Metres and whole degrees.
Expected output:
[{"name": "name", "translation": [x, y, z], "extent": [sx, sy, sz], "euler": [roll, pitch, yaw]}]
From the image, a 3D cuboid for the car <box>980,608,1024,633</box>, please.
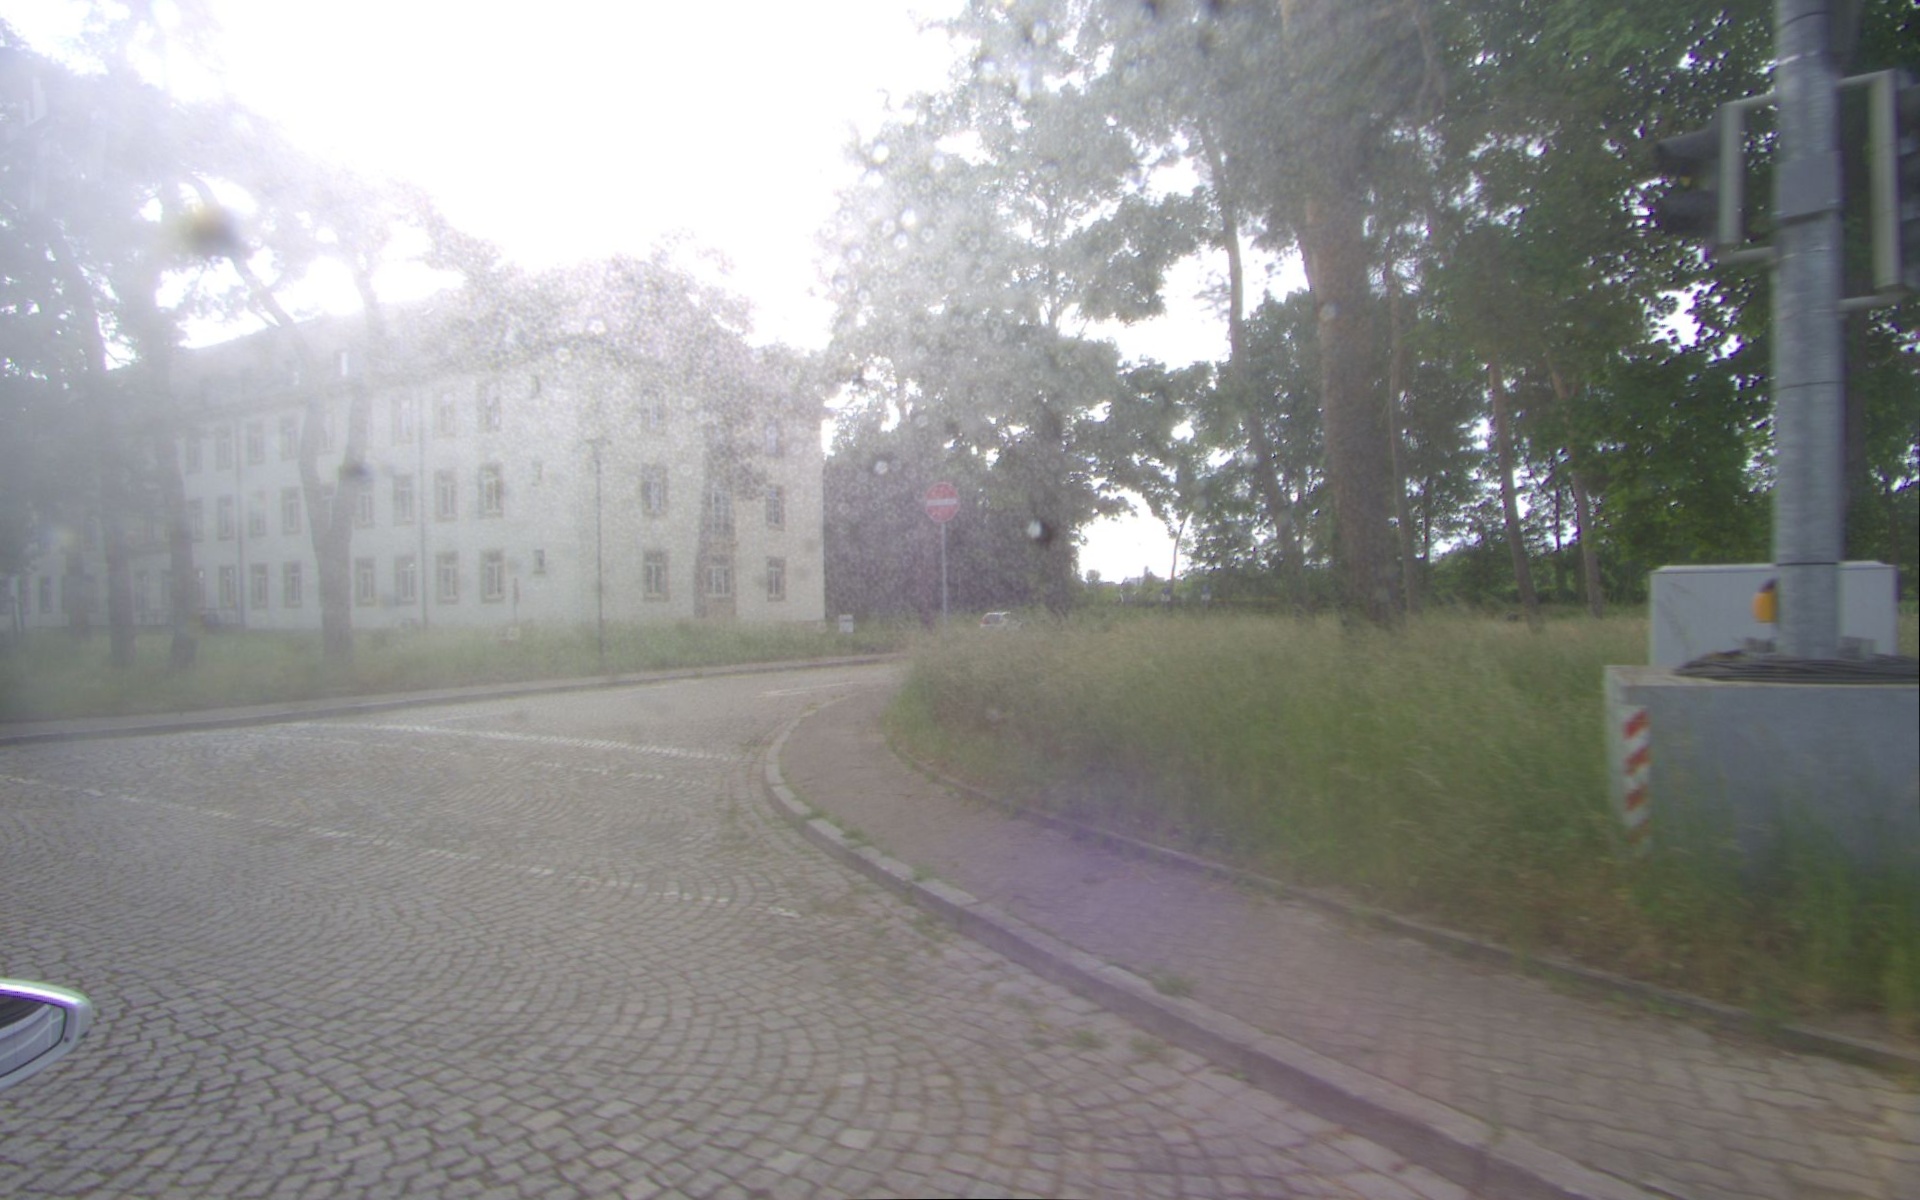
[{"name": "car", "translation": [2.616, 1.265, 61.956], "extent": [1.466, 1.455, 3.182], "euler": [-1, -1, 29]}]
